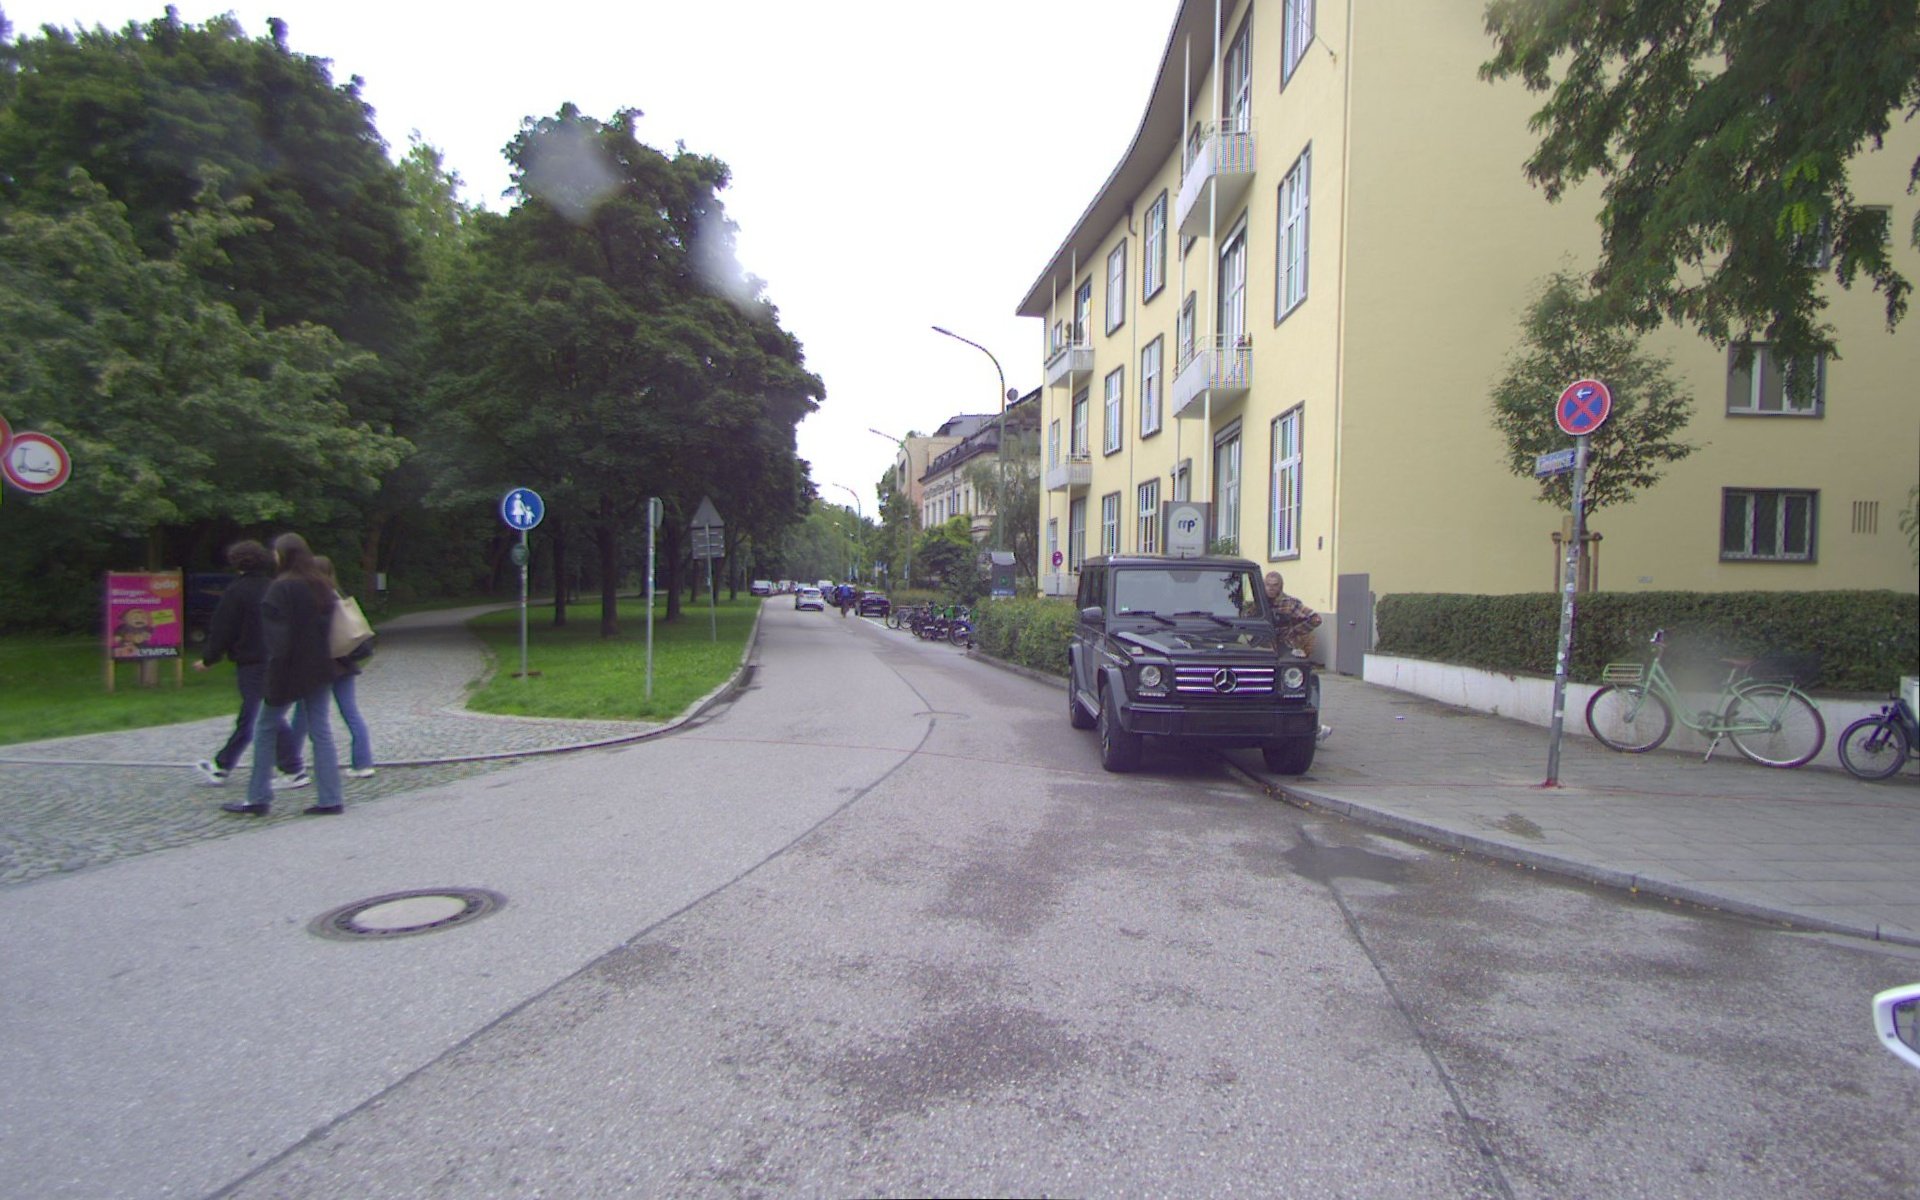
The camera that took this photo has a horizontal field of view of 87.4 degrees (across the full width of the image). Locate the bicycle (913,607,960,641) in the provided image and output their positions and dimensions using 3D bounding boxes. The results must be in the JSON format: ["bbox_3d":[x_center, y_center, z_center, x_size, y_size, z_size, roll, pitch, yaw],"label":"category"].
[{"bbox_3d":[-0.791,0.809,33.845,1.600,1.079,0.472,2,1,-40],"label":"bicycle"}]

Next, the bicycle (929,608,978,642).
[{"bbox_3d":[-0.205,0.834,32.847,1.596,1.079,0.473,2,1,-33],"label":"bicycle"}]

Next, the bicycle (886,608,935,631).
[{"bbox_3d":[-2.101,0.819,42.881,2.001,0.920,0.545,2,1,-14],"label":"bicycle"}]

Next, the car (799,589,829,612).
[{"bbox_3d":[-9.519,0.024,65.270,1.724,1.409,3.854,2,0,-10],"label":"car"}]

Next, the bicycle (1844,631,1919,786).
[{"bbox_3d":[8.052,0.853,7.390,2.261,1.141,0.581,1,2,38],"label":"bicycle"}]

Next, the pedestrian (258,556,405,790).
[{"bbox_3d":[-5.084,0.574,8.151,0.785,1.805,0.635,-1,-1,14],"label":"pedestrian"}]

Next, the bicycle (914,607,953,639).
[{"bbox_3d":[-0.903,0.790,35.078,0.385,1.079,1.606,2,1,39],"label":"bicycle"}]

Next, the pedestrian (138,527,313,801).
[{"bbox_3d":[-5.467,0.464,7.505,0.787,1.928,0.708,-1,-1,14],"label":"pedestrian"}]

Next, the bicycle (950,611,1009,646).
[{"bbox_3d":[0.581,0.859,30.033,1.723,0.997,0.363,2,1,-14],"label":"bicycle"}]

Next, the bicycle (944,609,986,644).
[{"bbox_3d":[0.158,0.849,32.137,0.378,1.079,1.605,2,1,40],"label":"bicycle"}]

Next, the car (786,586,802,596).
[{"bbox_3d":[-24.516,-1.395,148.599,1.887,1.409,3.859,2,0,-4],"label":"car"}]

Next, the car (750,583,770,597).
[{"bbox_3d":[-20.354,-1.029,102.378,1.715,1.409,3.967,2,0,-8],"label":"car"}]

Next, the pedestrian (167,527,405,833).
[{"bbox_3d":[-4.402,0.506,6.602,1.092,1.857,0.752,-1,-1,14],"label":"pedestrian"}]

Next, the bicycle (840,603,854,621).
[{"bbox_3d":[-5.938,0.612,52.722,0.475,0.920,1.626,2,0,-15],"label":"bicycle"}]

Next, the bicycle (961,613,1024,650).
[{"bbox_3d":[0.916,0.895,28.428,1.724,0.997,0.439,2,1,-15],"label":"bicycle"}]

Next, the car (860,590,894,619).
[{"bbox_3d":[-4.806,0.235,57.832,1.629,1.549,3.993,2,0,-9],"label":"car"}]

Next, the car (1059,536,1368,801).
[{"bbox_3d":[2.210,0.530,10.110,1.898,2.028,4.420,2,0,-1],"label":"car"}]

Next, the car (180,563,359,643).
[{"bbox_3d":[-19.707,0.043,28.764,1.879,2.133,3.943,2,2,44],"label":"car"}]

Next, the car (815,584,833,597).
[{"bbox_3d":[-15.192,-1.090,112.214,1.724,1.409,3.854,2,0,-10],"label":"car"}]

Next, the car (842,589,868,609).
[{"bbox_3d":[-8.042,-0.058,77.021,1.600,1.439,3.785,2,0,-11],"label":"car"}]

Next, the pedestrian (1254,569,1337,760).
[{"bbox_3d":[3.330,0.620,9.963,0.629,1.823,0.560,-1,0,32],"label":"pedestrian"}]

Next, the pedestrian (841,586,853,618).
[{"bbox_3d":[-5.930,0.087,52.735,0.465,1.651,0.756,2,1,-16],"label":"pedestrian"}]

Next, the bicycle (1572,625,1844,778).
[{"bbox_3d":[6.705,0.847,9.139,0.576,1.172,1.939,-2,1,-26],"label":"bicycle"}]

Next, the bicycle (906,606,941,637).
[{"bbox_3d":[-1.323,0.778,36.618,0.385,1.079,1.608,2,1,34],"label":"bicycle"}]
